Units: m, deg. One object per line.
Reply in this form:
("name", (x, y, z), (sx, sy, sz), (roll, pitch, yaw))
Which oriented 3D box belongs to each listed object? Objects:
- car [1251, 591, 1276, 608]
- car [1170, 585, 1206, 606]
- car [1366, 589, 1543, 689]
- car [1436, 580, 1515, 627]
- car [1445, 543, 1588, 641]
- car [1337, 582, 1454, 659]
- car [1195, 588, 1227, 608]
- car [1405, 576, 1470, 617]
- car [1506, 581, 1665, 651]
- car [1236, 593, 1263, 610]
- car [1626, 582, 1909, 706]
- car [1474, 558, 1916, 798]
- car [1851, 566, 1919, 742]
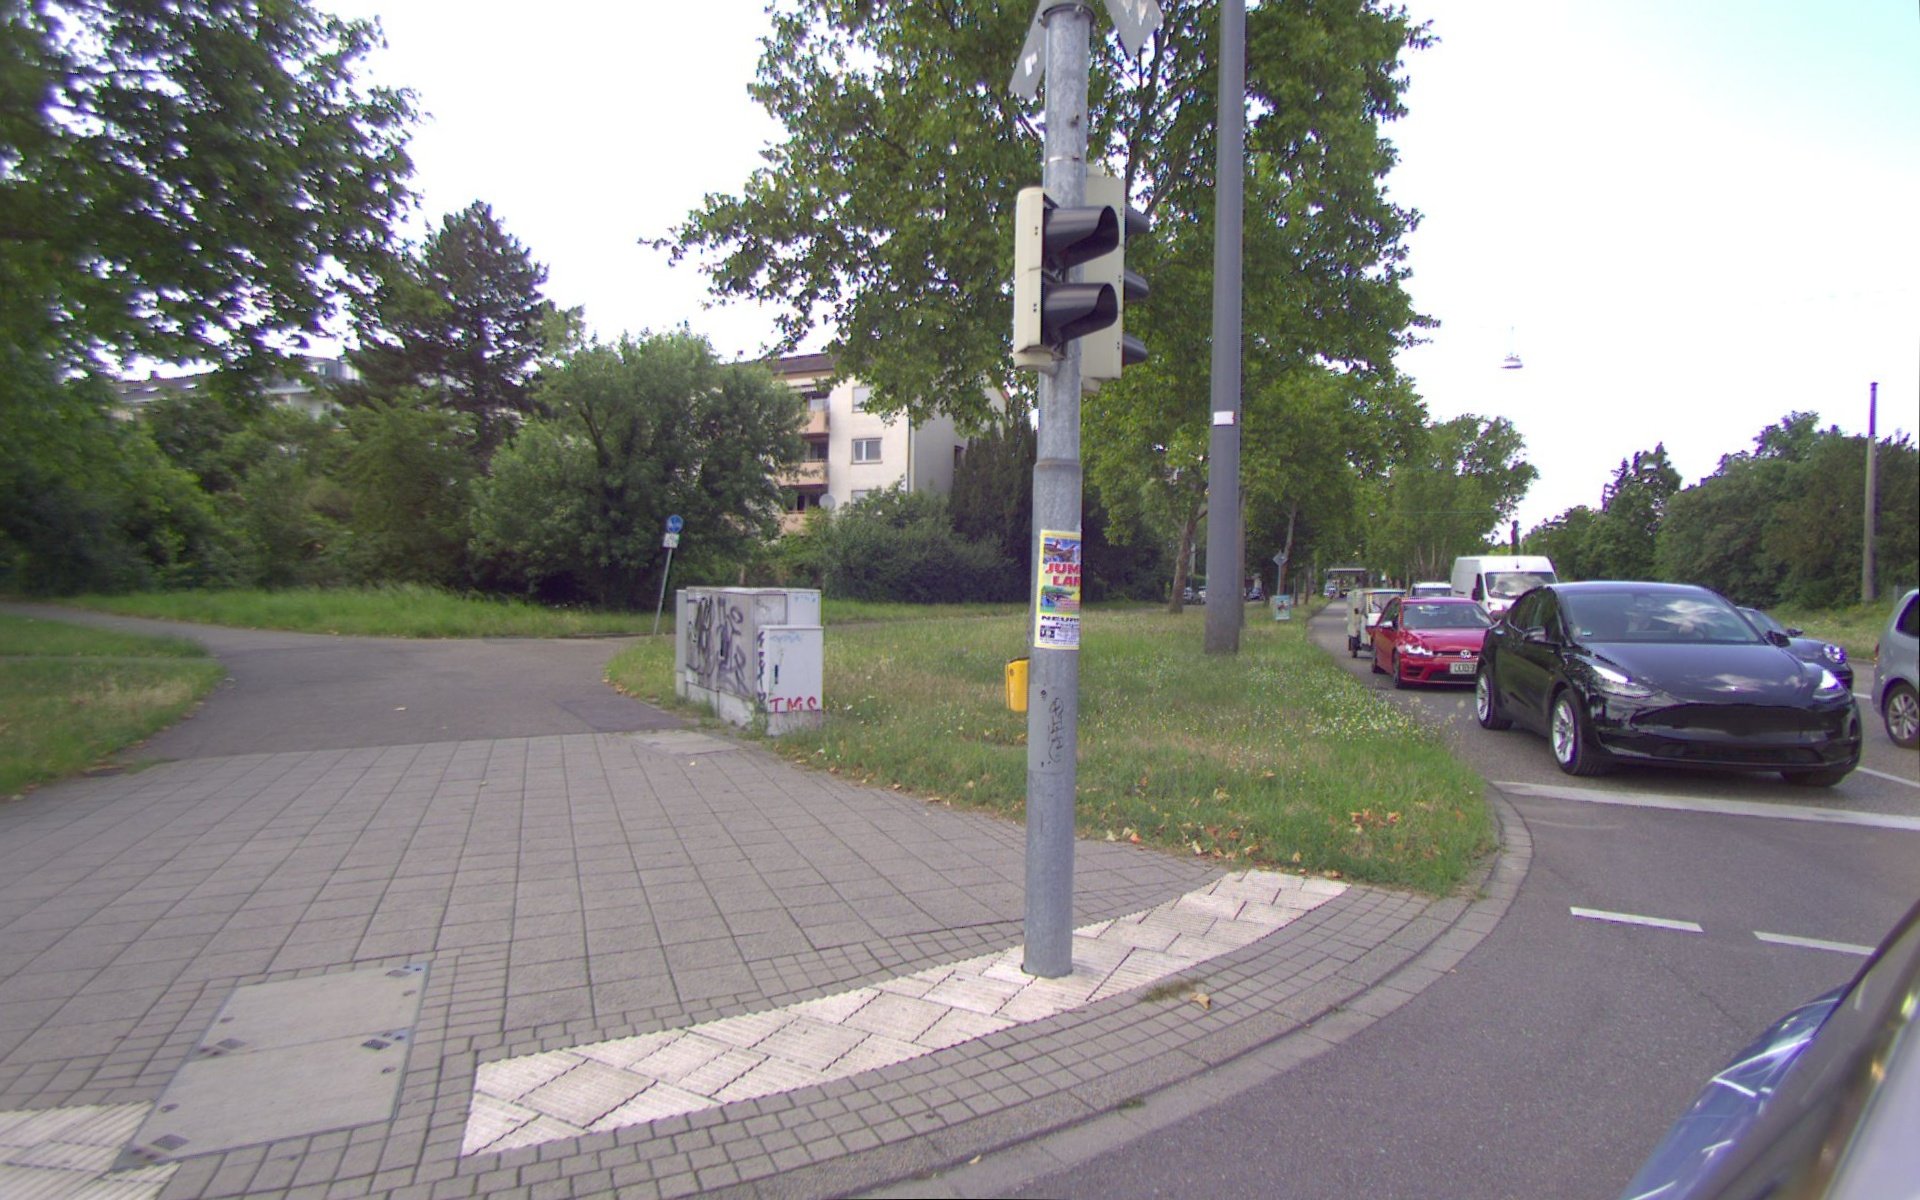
("car", (32.587, -0.045, 108.743), (1.762, 1.616, 3.616), (1, -1, 31))
("car", (18.084, -0.344, 80.155), (1.762, 1.616, 3.616), (1, -1, 31))
("car", (8.112, 0.543, 17.025), (1.776, 1.408, 4.482), (-1, 1, 14))
("car", (18.745, 0.080, 36.978), (1.818, 1.638, 4.135), (0, 1, 16))
("car", (16.010, -0.247, 29.519), (2.195, 2.561, 5.907), (-1, 1, 14))
("car", (9.899, 0.385, 23.349), (1.776, 1.589, 4.482), (-1, 1, 14))
("car", (21.908, -0.148, 88.371), (1.762, 1.616, 3.616), (1, -1, 31))
("car", (20.999, -0.186, 44.646), (1.739, 1.667, 4.324), (1, 1, 14))
("car", (13.568, 0.285, 22.254), (1.739, 1.392, 4.324), (-1, 1, 14))
("car", (29.120, 0.196, 101.722), (1.762, 1.616, 3.616), (1, -1, 31))
("car", (11.400, 0.522, 14.672), (1.779, 1.527, 3.980), (-1, 1, 16))
("car", (6.386, 0.511, 9.537), (1.905, 1.673, 4.557), (-1, 1, 16))
("car", (9.769, 0.527, 8.240), (1.903, 1.673, 4.482), (-1, 1, 14))
